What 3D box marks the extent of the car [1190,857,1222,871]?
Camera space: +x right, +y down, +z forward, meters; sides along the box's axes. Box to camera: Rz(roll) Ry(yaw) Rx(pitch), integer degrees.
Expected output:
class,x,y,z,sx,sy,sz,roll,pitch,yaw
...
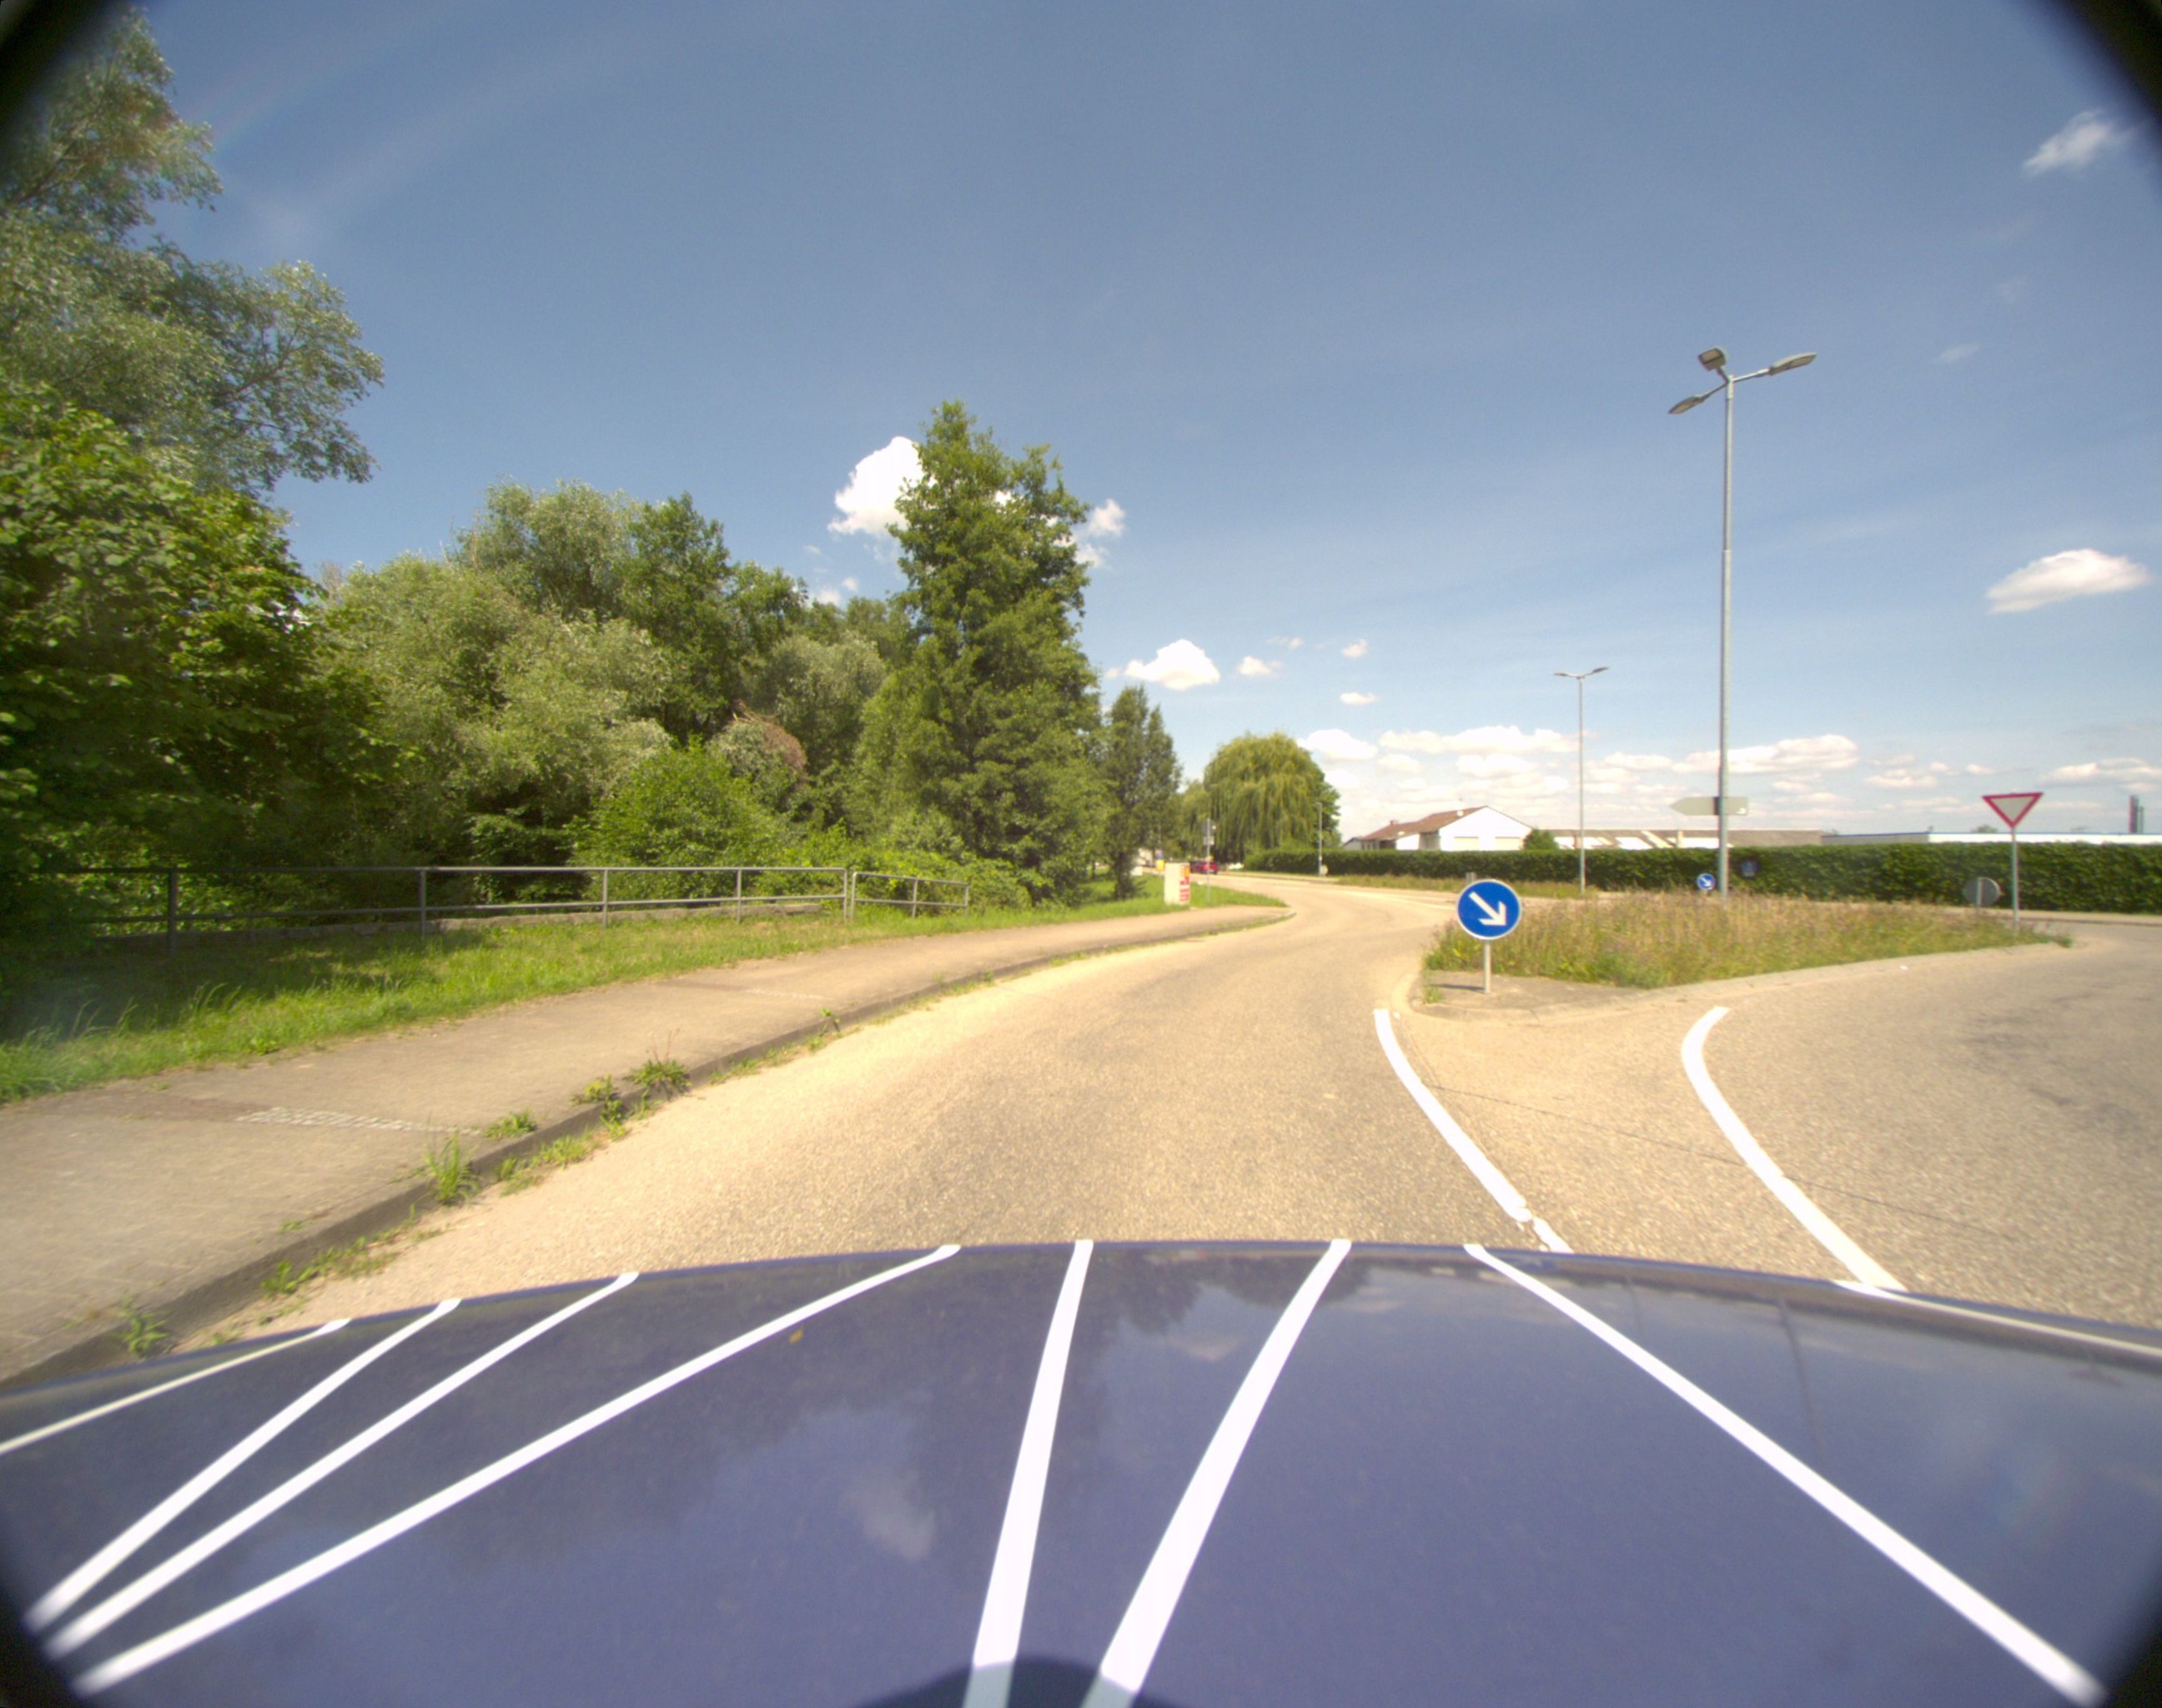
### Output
class,x,y,z,sx,sy,sz,roll,pitch,yaw
car,13.086,1.058,79.987,1.886,1.455,4.382,1,0,-11
